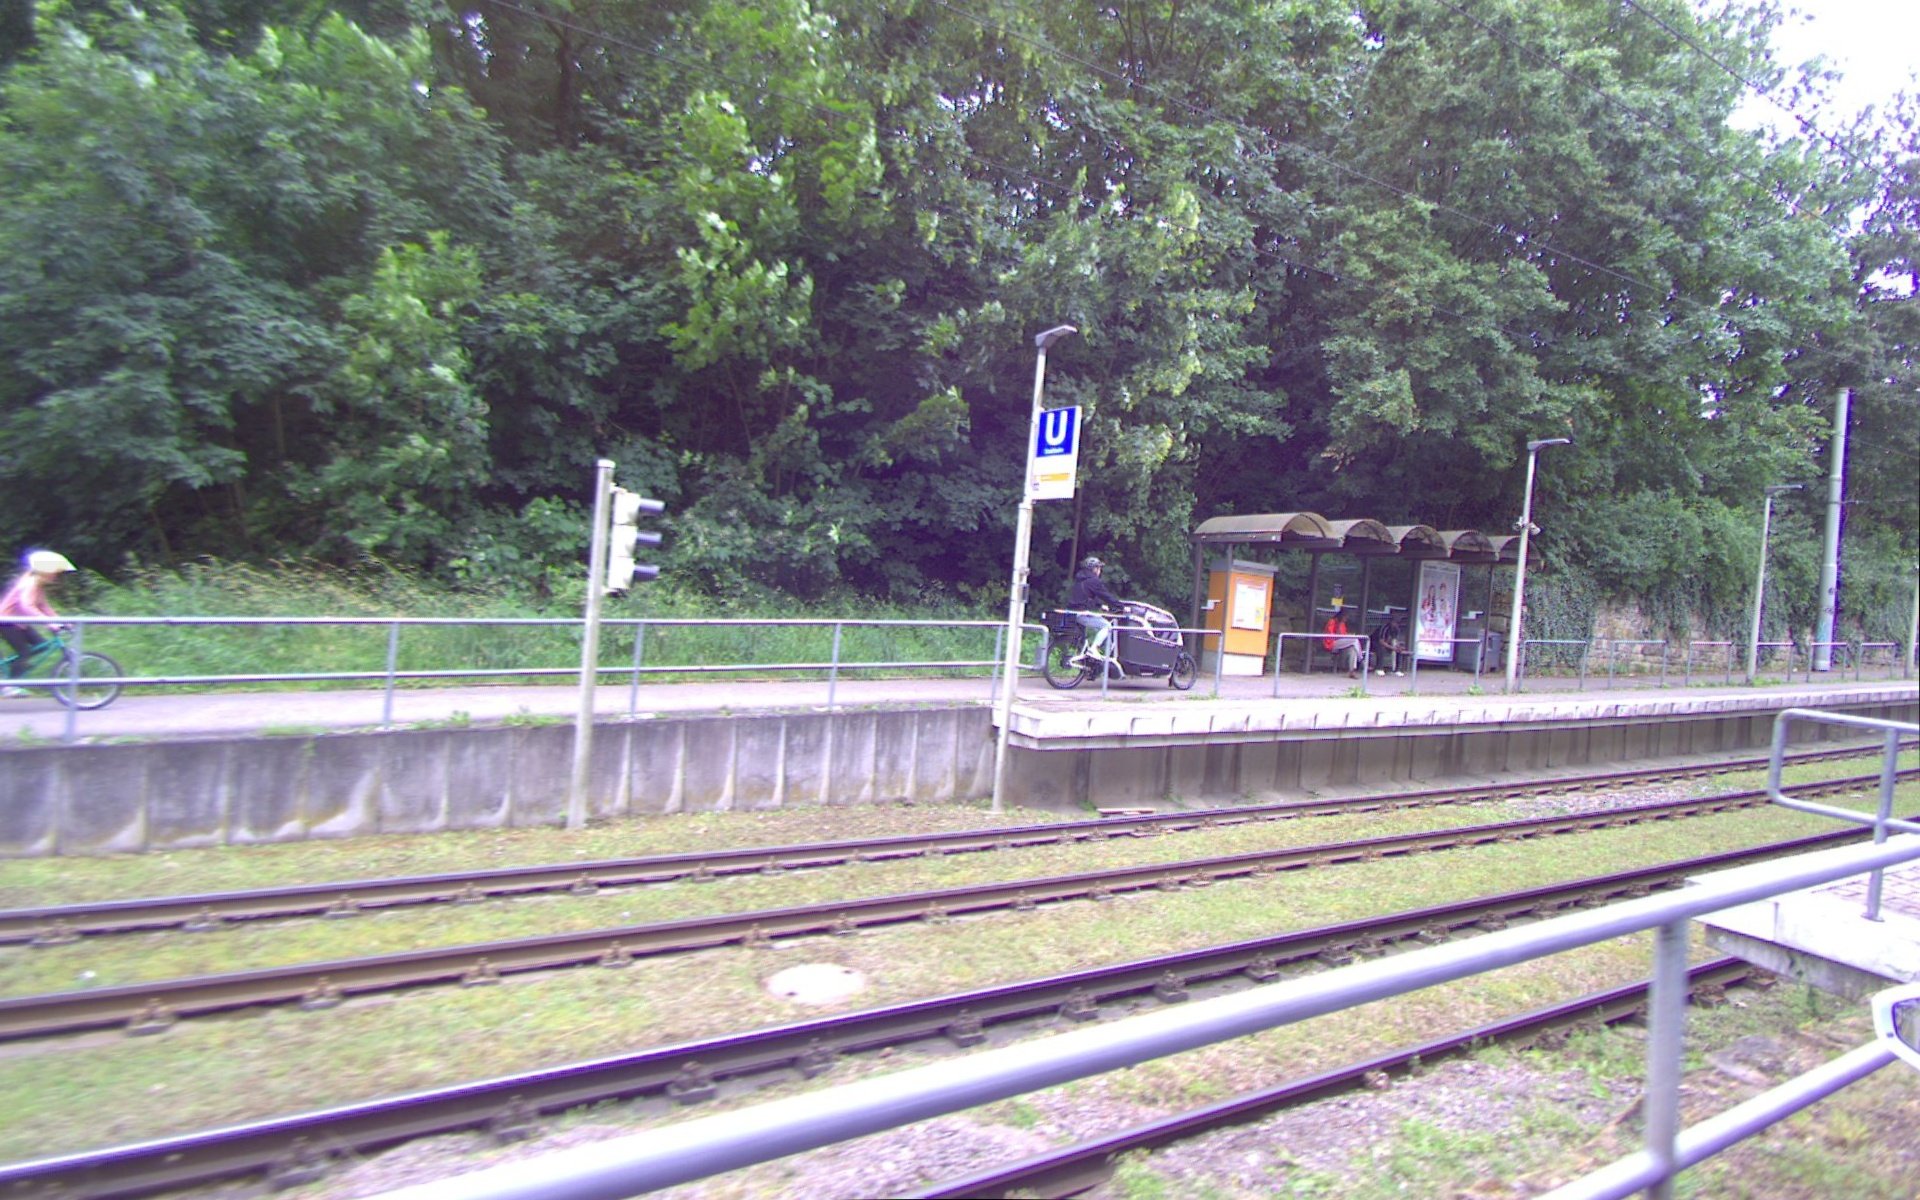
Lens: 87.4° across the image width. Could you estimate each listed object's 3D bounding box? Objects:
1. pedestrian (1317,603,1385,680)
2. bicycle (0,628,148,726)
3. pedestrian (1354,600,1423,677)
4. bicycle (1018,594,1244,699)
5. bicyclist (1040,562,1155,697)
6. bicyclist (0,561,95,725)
[{"bbox_3d":[7.286,0.767,18.740,0.778,1.344,0.768,2,4,-30],"label":"pedestrian"},{"bbox_3d":[-7.855,0.641,8.437,1.540,0.749,0.451,0,5,-30],"label":"bicycle"},{"bbox_3d":[8.204,0.740,19.262,0.778,1.343,0.768,5,3,-31],"label":"pedestrian"},{"bbox_3d":[2.452,0.623,14.118,3.304,1.307,0.730,1,5,-28],"label":"bicycle"},{"bbox_3d":[1.883,0.385,13.791,1.276,1.735,0.730,1,5,-28],"label":"bicyclist"},{"bbox_3d":[-7.730,0.346,8.456,0.574,1.319,0.451,0,5,-30],"label":"bicyclist"}]
